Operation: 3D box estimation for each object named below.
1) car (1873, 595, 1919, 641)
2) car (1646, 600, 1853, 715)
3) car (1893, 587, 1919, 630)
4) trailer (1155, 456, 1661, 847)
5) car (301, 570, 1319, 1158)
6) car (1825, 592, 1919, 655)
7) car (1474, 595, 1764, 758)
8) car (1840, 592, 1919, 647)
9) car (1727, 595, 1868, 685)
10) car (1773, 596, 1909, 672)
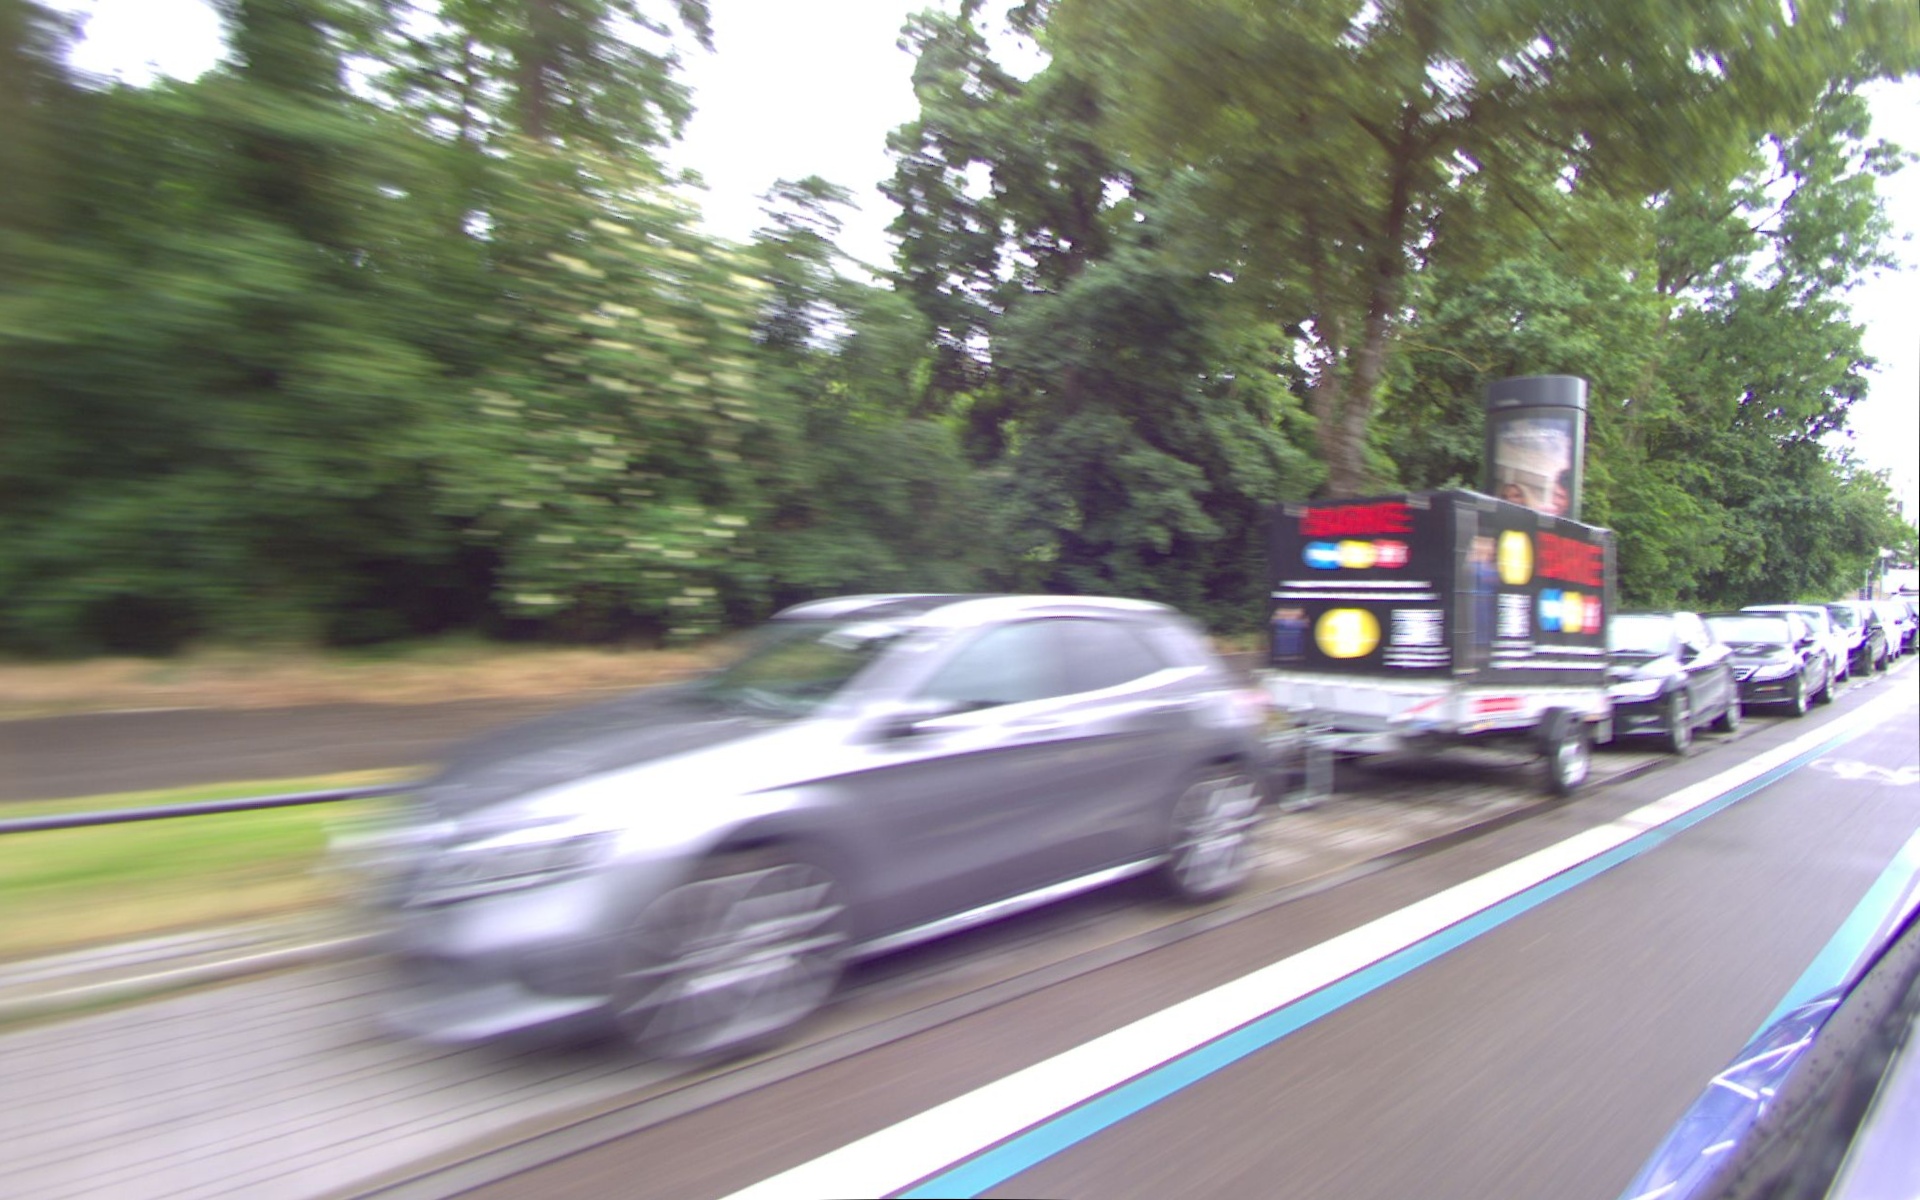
[{"bbox_3d":[31.378,0.553,33.215,4.314,1.417,1.853,-1,0,-45],"label":"car"},{"bbox_3d":[11.627,0.724,14.792,4.372,1.411,1.753,0,-1,-44],"label":"car"},{"bbox_3d":[38.661,0.312,40.448,4.183,1.635,1.822,-1,0,-45],"label":"car"},{"bbox_3d":[3.807,0.283,8.152,4.684,2.276,1.909,0,1,-41],"label":"trailer"},{"bbox_3d":[-0.319,0.640,4.652,4.351,1.468,1.799,0,1,-41],"label":"car"},{"bbox_3d":[23.220,0.539,25.688,3.614,1.479,1.561,0,0,-43],"label":"car"},{"bbox_3d":[7.566,0.712,11.460,4.129,1.504,1.824,0,-1,-43],"label":"car"},{"bbox_3d":[27.085,0.515,29.332,4.669,1.473,1.859,0,0,-42],"label":"car"},{"bbox_3d":[15.618,0.658,18.798,3.934,1.485,1.618,0,0,-44],"label":"car"},{"bbox_3d":[18.942,0.669,21.706,3.831,1.484,1.661,0,-1,-41],"label":"car"}]
